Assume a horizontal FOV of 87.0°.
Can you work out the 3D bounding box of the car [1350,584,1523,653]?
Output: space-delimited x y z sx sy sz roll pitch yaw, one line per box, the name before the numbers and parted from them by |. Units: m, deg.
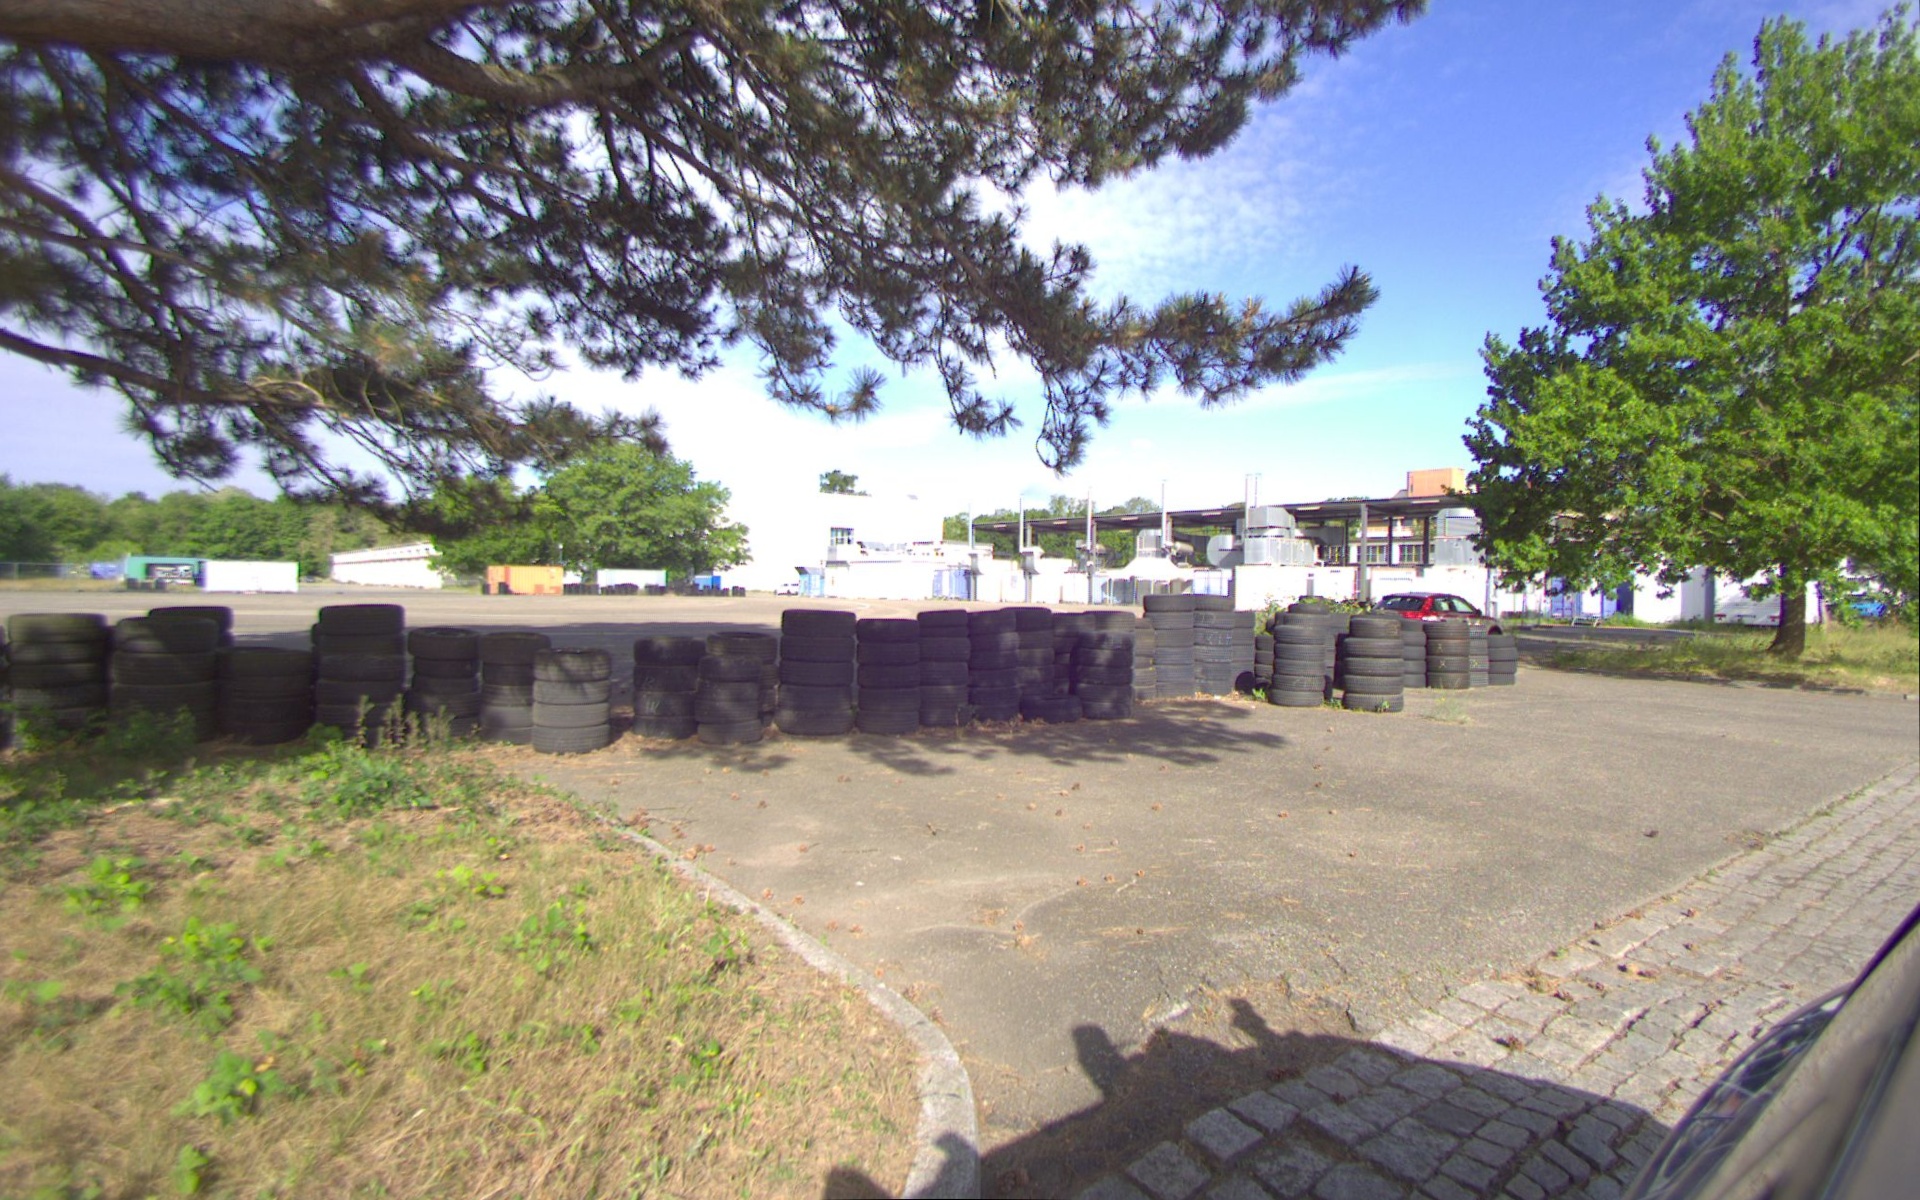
car | 11.197 0.384 23.736 3.922 1.467 1.850 0 1 -32
